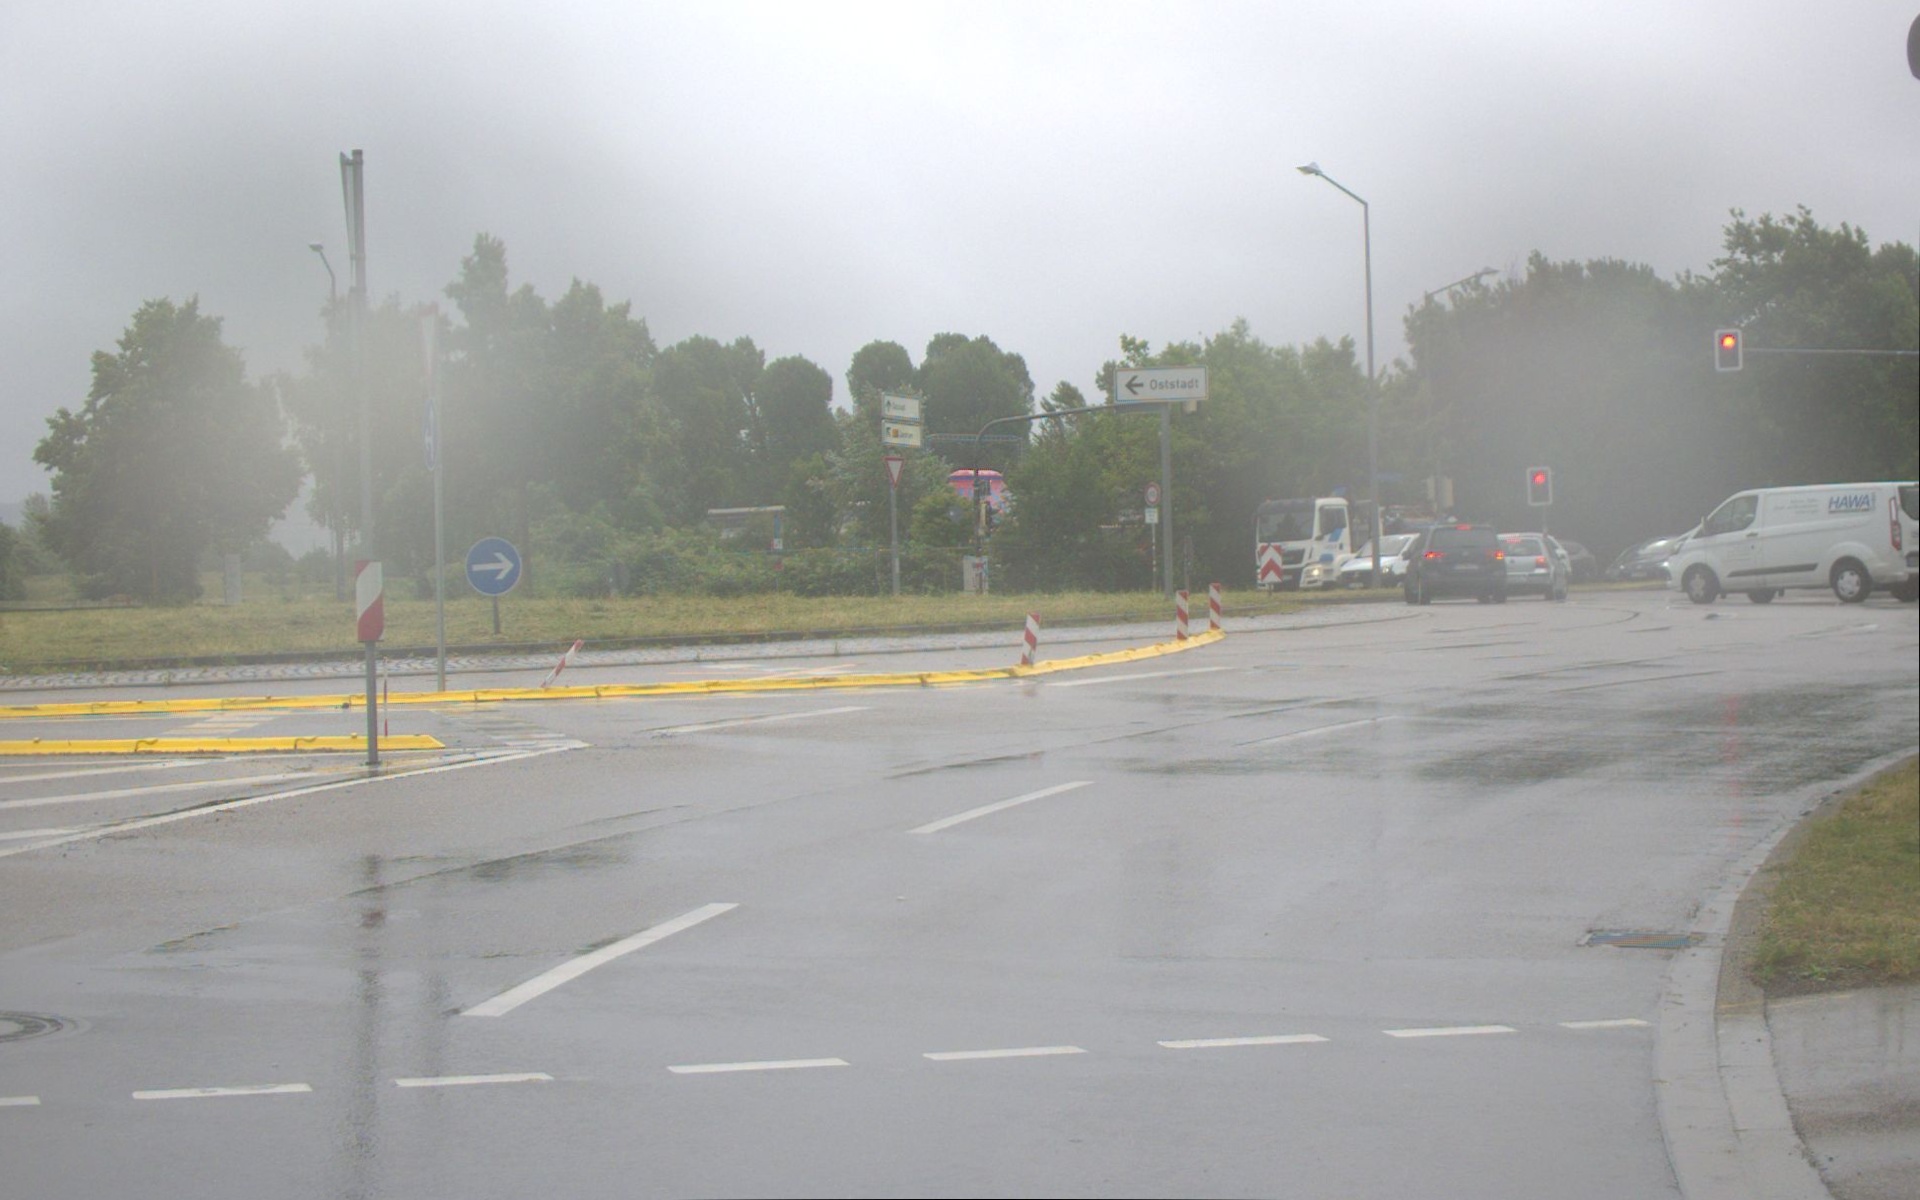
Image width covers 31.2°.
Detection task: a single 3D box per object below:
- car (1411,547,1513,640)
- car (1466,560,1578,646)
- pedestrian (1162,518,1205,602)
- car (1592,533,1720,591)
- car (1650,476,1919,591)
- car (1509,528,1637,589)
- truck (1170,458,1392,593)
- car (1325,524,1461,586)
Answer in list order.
[{"bbox_3d":[10.416,-0.137,71.308,1.994,1.845,4.774,1,0,9],"label":"car"},{"bbox_3d":[12.642,0.062,77.161,1.995,1.845,4.772,1,0,15],"label":"car"},{"bbox_3d":[3.529,-0.631,54.313,0.453,1.300,0.485,-1,1,38],"label":"pedestrian"},{"bbox_3d":[20.711,-1.123,102.230,1.800,1.656,4.399,1,0,41],"label":"car"},{"bbox_3d":[14.294,-1.110,58.211,4.773,1.845,1.995,1,0,45],"label":"car"},{"bbox_3d":[17.462,-1.170,97.818,1.800,1.656,3.990,1,0,41],"label":"car"},{"bbox_3d":[7.028,-1.542,74.098,2.464,2.677,8.049,1,0,23],"label":"truck"},{"bbox_3d":[12.162,-1.253,96.389,1.800,1.656,4.124,1,0,41],"label":"car"}]
